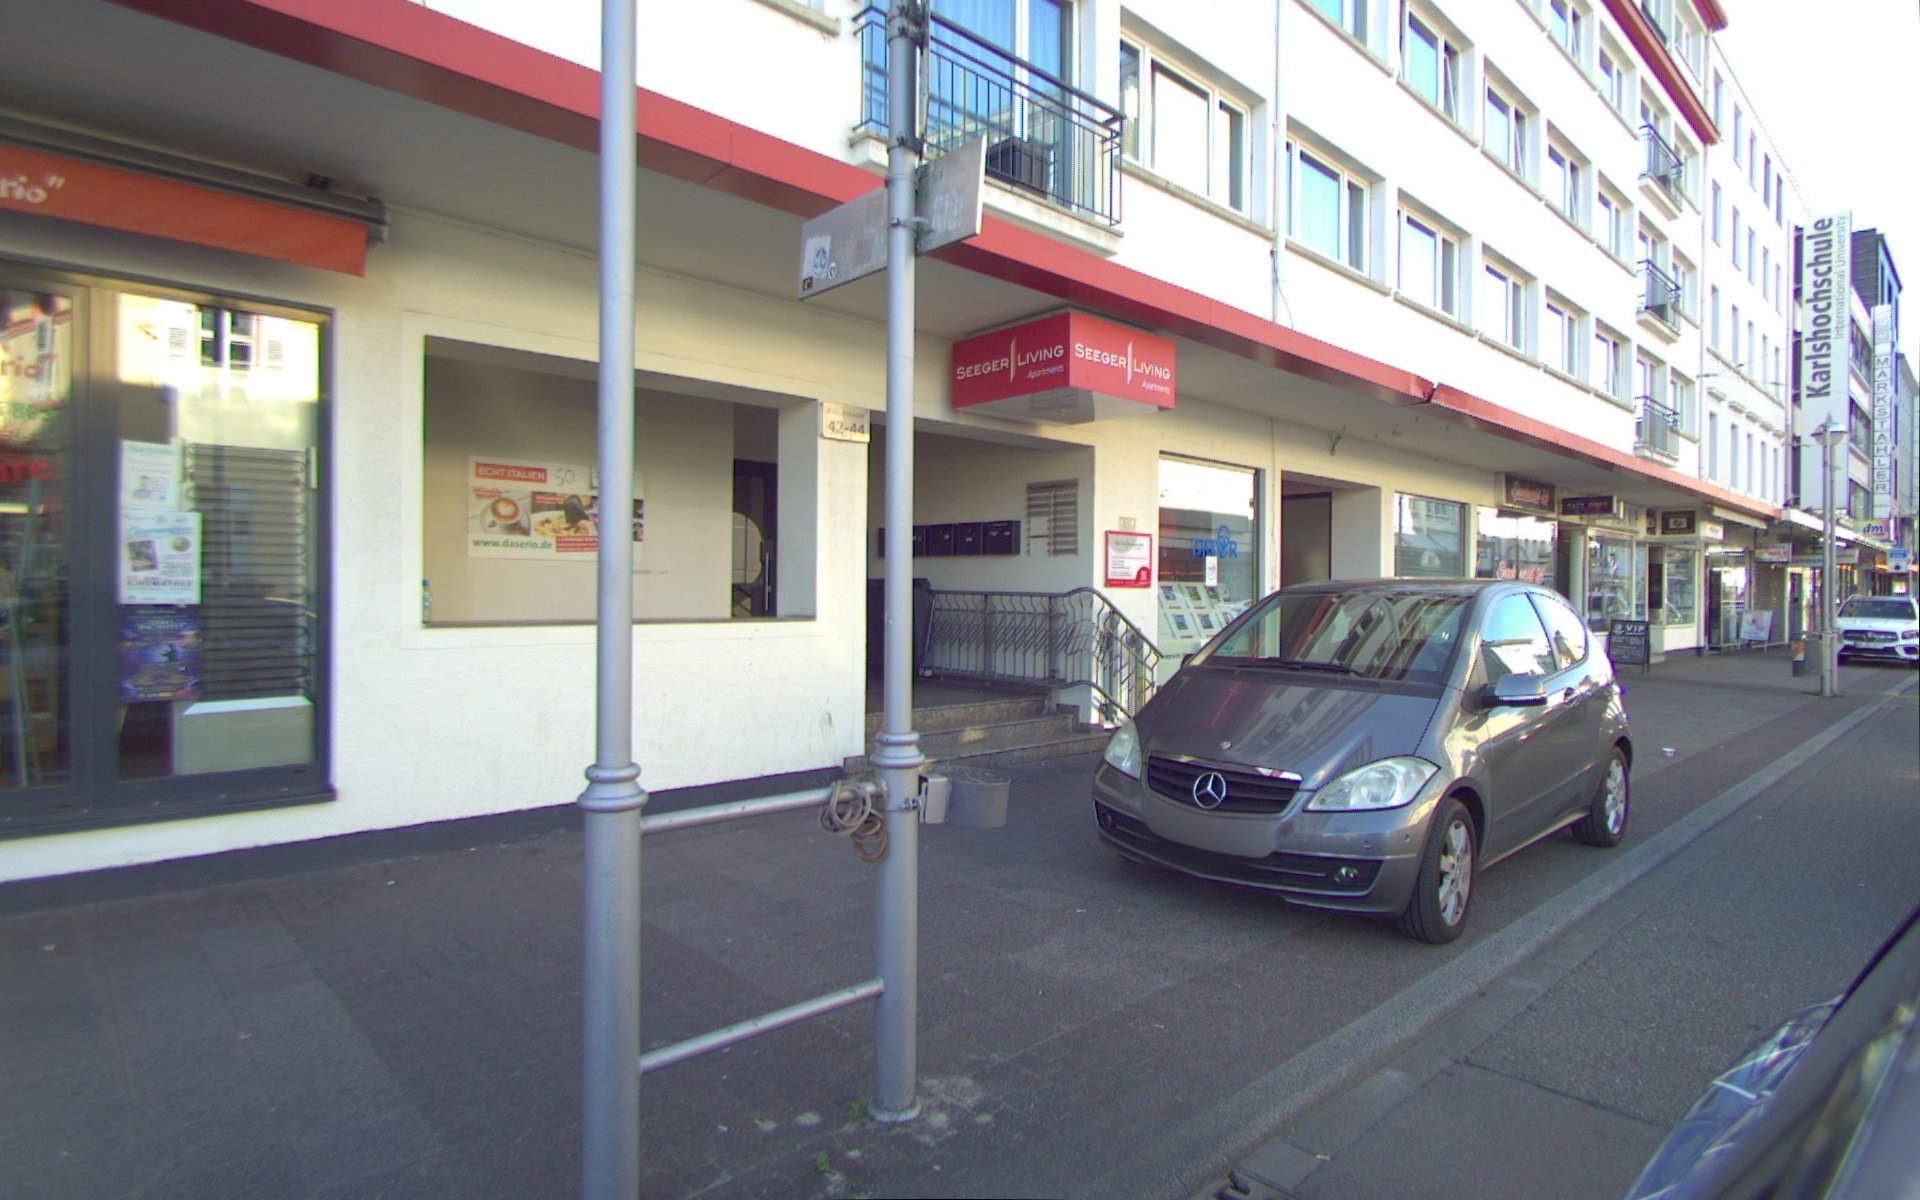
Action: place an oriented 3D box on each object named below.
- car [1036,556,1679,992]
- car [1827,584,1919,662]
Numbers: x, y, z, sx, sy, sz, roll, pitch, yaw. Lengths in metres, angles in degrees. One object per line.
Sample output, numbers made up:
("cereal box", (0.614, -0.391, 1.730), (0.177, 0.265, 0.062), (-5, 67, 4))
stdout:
("car", (2.419, 0.585, 5.654), (3.893, 1.588, 1.780), (-1, 2, -42))
("car", (22.221, 0.470, 24.146), (4.092, 1.684, 1.781), (-1, 2, -42))
